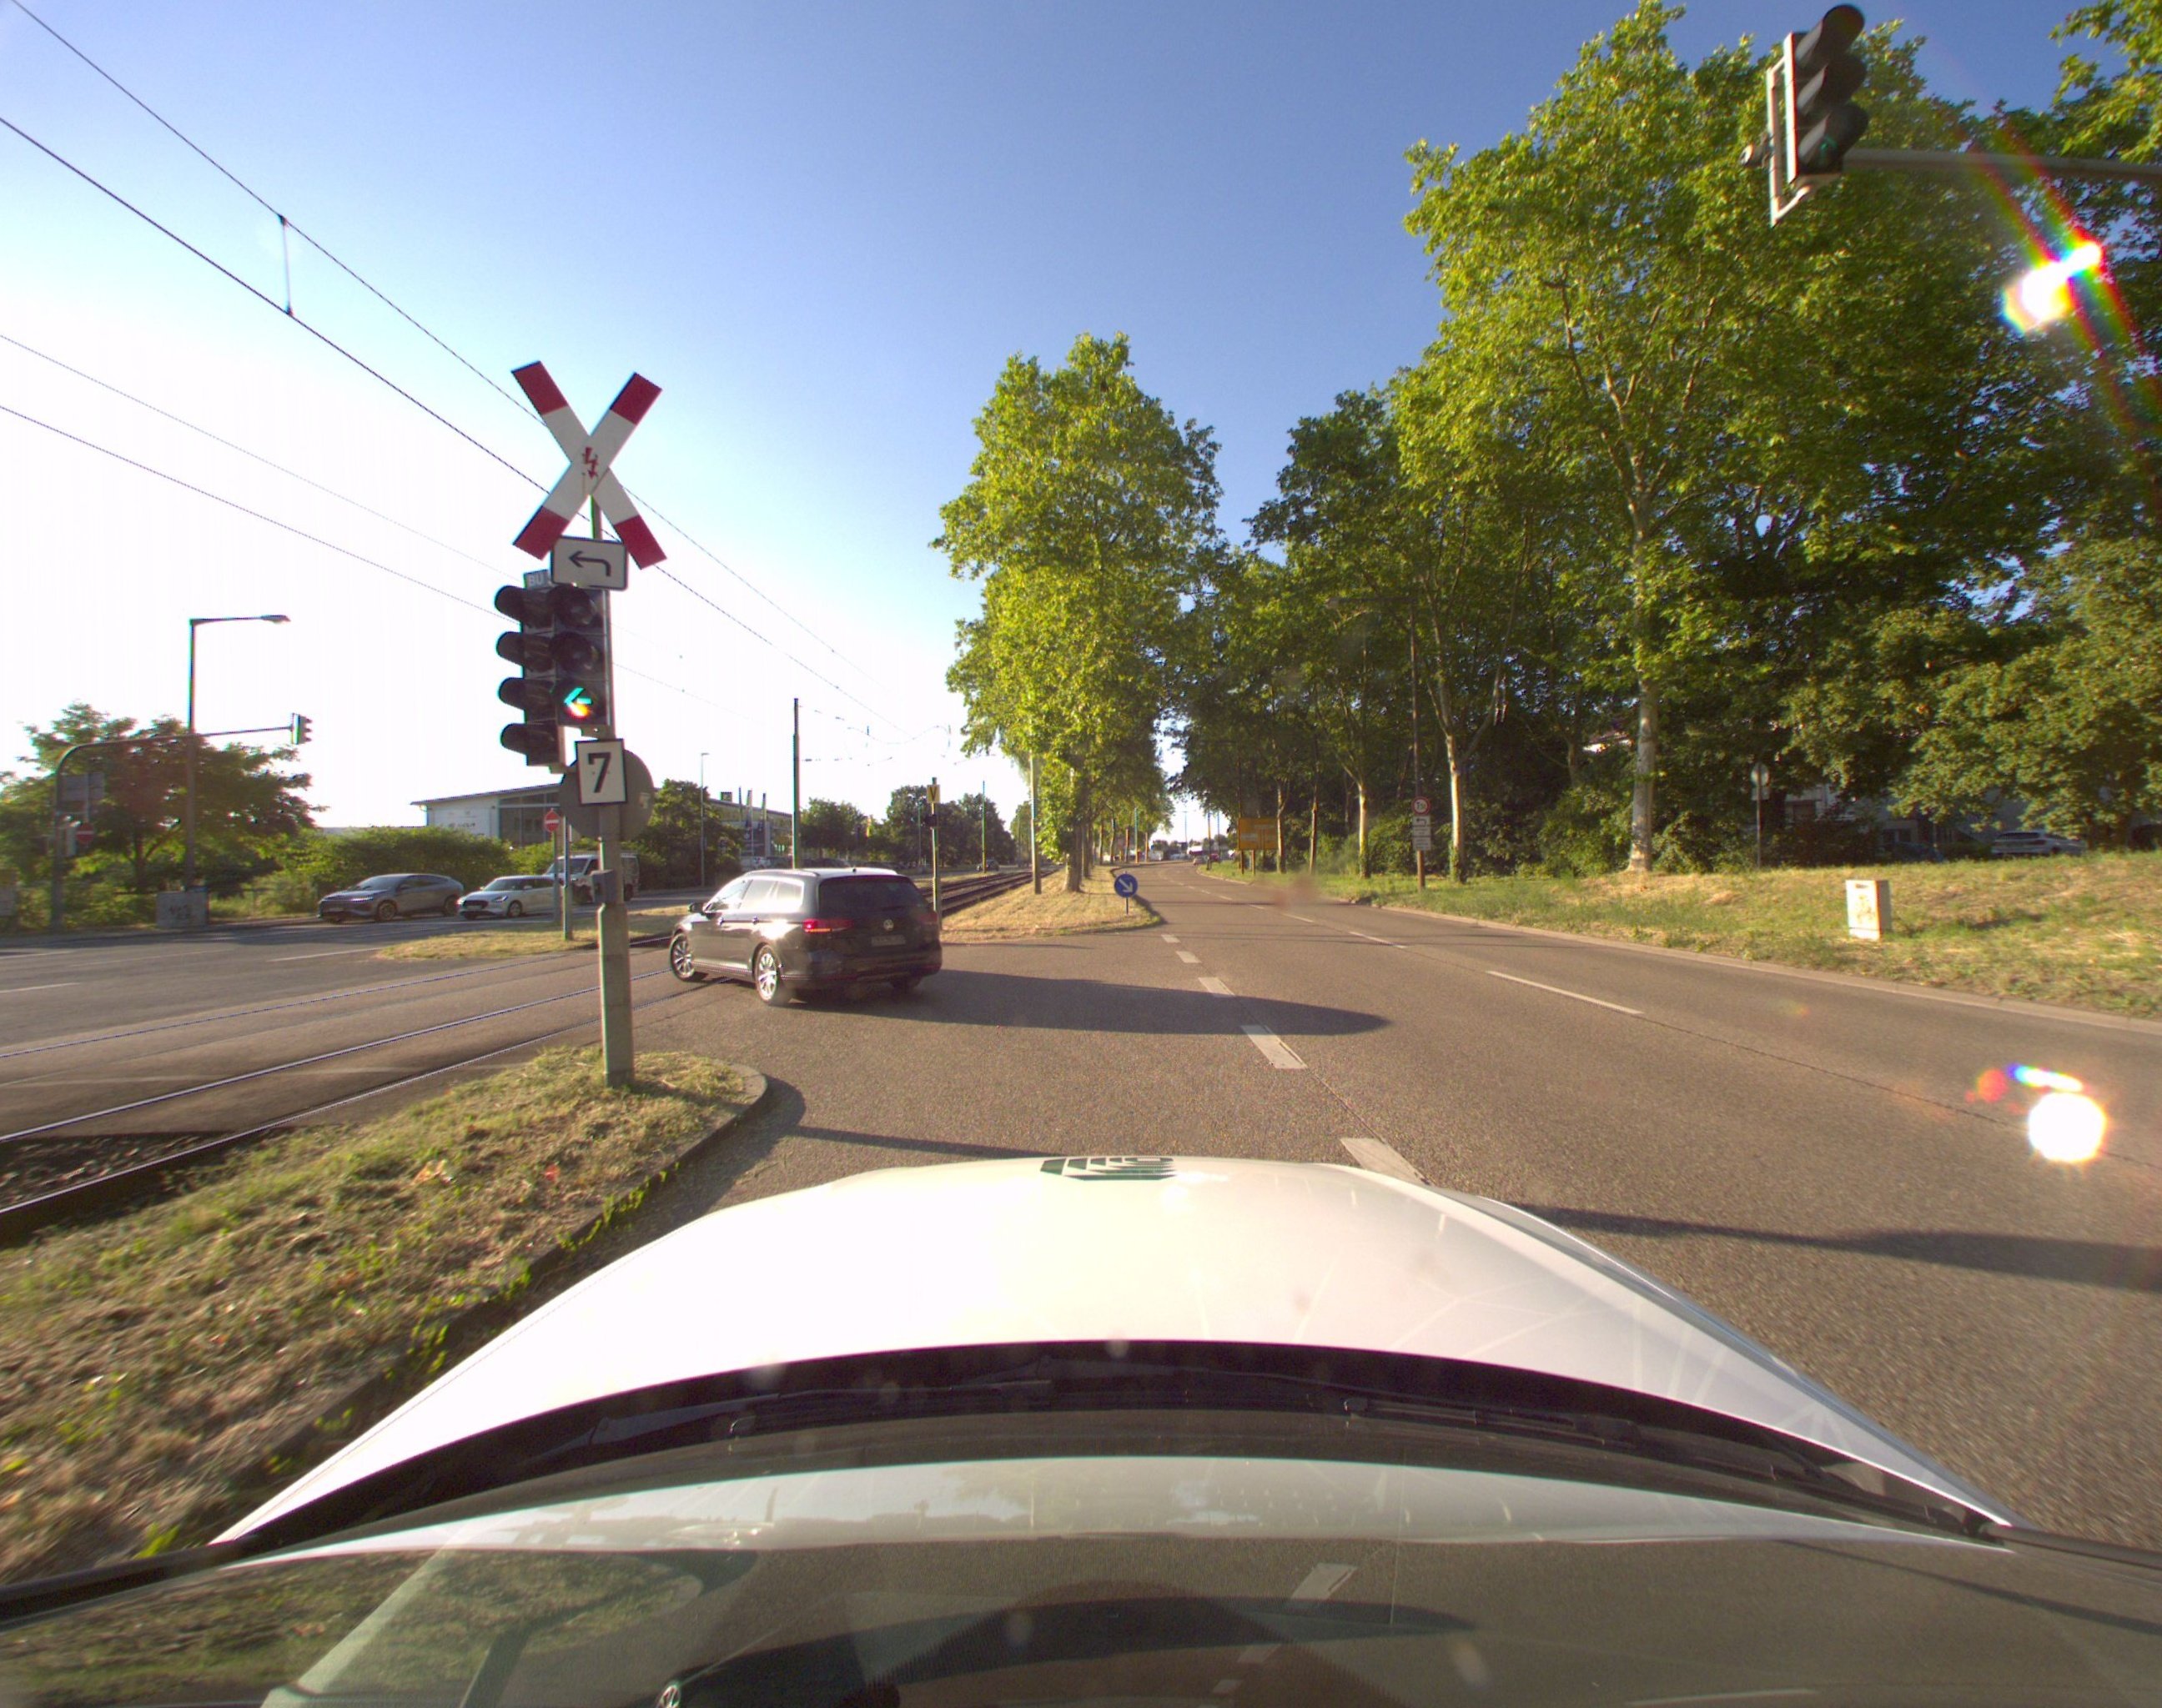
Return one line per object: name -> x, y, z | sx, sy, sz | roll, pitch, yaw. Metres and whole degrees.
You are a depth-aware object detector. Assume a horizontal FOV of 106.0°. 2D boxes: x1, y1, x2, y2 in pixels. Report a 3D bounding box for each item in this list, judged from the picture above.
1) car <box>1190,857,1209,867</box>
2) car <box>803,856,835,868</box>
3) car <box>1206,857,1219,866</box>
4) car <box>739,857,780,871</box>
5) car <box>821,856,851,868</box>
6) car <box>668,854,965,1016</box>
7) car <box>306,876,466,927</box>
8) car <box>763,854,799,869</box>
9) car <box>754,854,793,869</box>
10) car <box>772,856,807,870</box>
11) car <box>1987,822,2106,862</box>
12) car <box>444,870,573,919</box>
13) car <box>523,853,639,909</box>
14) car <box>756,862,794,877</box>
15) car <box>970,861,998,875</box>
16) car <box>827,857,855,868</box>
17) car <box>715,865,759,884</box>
car -> 18.178, 1.229, 124.710 | 1.977, 1.442, 4.020 | -1, -1, 20
car -> -33.731, 1.028, 104.857 | 3.798, 1.567, 1.748 | 0, -1, -18
car -> 21.793, 1.294, 134.673 | 1.981, 1.440, 4.010 | -1, -1, 9
car -> -32.798, 0.993, 83.216 | 3.798, 1.388, 1.748 | 0, -1, -18
car -> -33.390, 1.115, 111.029 | 3.798, 1.567, 1.748 | 0, -1, -18
car -> -3.402, 0.814, 9.981 | 1.841, 1.556, 4.206 | 0, -1, -43
car -> -24.981, 1.662, 29.534 | 1.864, 1.618, 4.547 | -1, -1, 1
car -> -34.080, 0.853, 92.604 | 3.798, 1.567, 1.748 | 0, -1, -18
car -> -32.929, 0.766, 87.319 | 3.798, 1.567, 1.748 | 0, -1, -18
car -> -34.180, 1.016, 95.533 | 3.798, 1.567, 1.748 | 0, -1, -18
car -> 42.896, -0.518, 36.197 | 3.995, 1.706, 1.908 | 0, -1, -16
car -> -20.848, 1.439, 29.895 | 1.864, 1.618, 4.000 | -1, -1, 0
car -> -24.629, 1.289, 40.465 | 1.995, 2.566, 5.878 | -1, -1, 2
car -> -33.606, 1.705, 89.542 | 3.798, 1.567, 1.748 | 0, -1, -18
car -> -12.381, 1.731, 104.183 | 1.792, 1.684, 4.022 | -1, -1, 24
car -> -33.566, 1.157, 113.820 | 3.798, 1.567, 1.748 | 0, -1, -18
car -> -33.597, 1.991, 79.607 | 3.798, 1.860, 1.748 | 0, -1, -18
